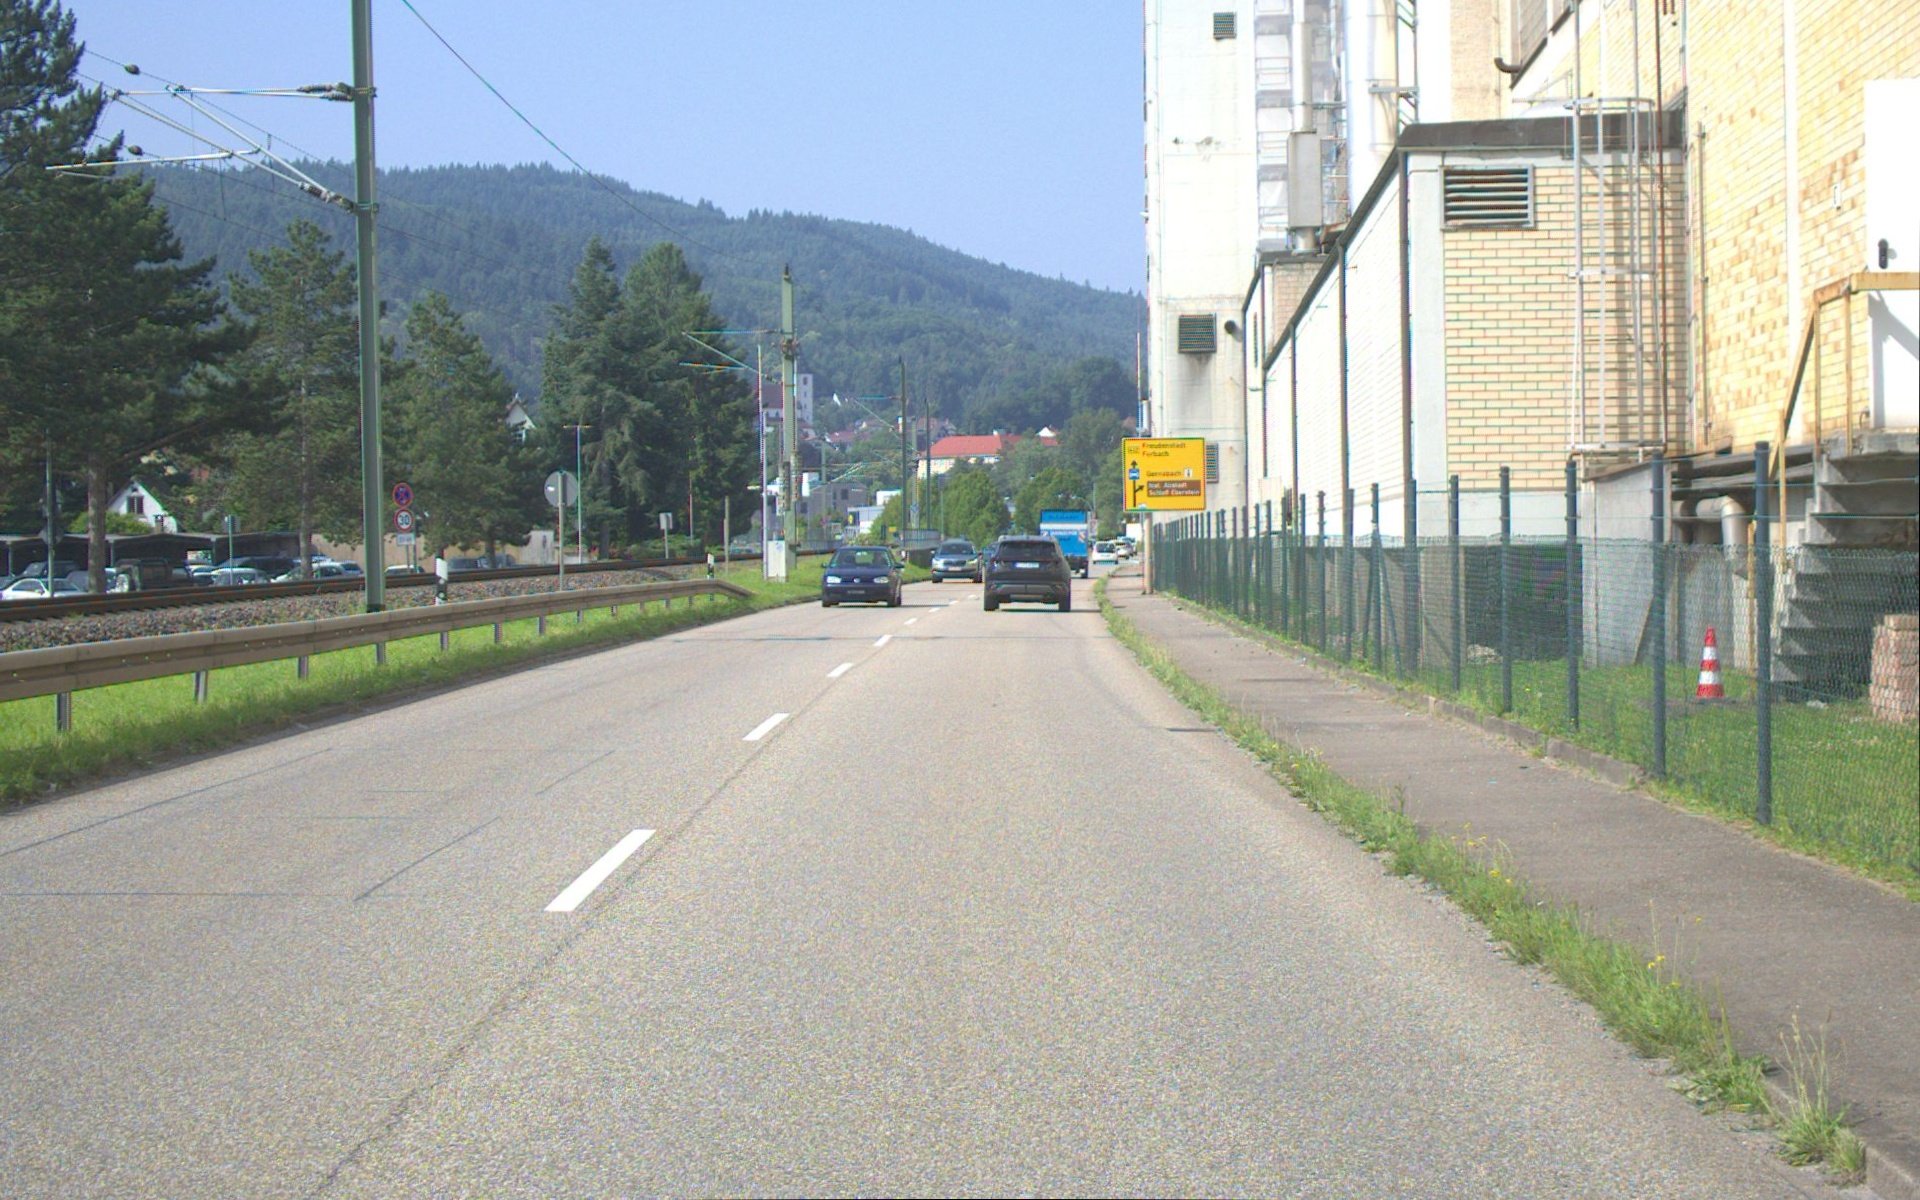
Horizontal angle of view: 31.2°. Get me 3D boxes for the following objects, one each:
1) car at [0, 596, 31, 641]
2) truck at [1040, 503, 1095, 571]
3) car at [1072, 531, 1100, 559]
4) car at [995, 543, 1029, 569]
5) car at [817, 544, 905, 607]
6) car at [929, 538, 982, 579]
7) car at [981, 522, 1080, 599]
[{"bbox_3d":[-33.976,0.641,119.567,1.683,1.501,3.851,-2,1,-41],"label":"car"},{"bbox_3d":[4.803,-2.841,154.067,2.312,2.960,5.966,-1,2,1],"label":"truck"},{"bbox_3d":[8.189,-3.580,222.930,1.667,1.816,3.751,0,1,4],"label":"car"},{"bbox_3d":[3.009,-2.521,197.535,1.768,1.400,4.296,-1,1,3],"label":"car"},{"bbox_3d":[-2.289,-0.597,80.391,1.764,1.398,4.120,0,1,3],"label":"car"},{"bbox_3d":[-0.152,-1.631,134.674,1.906,1.595,4.570,0,1,2],"label":"car"},{"bbox_3d":[1.581,-0.884,75.681,1.920,1.634,4.000,0,1,5],"label":"car"}]
